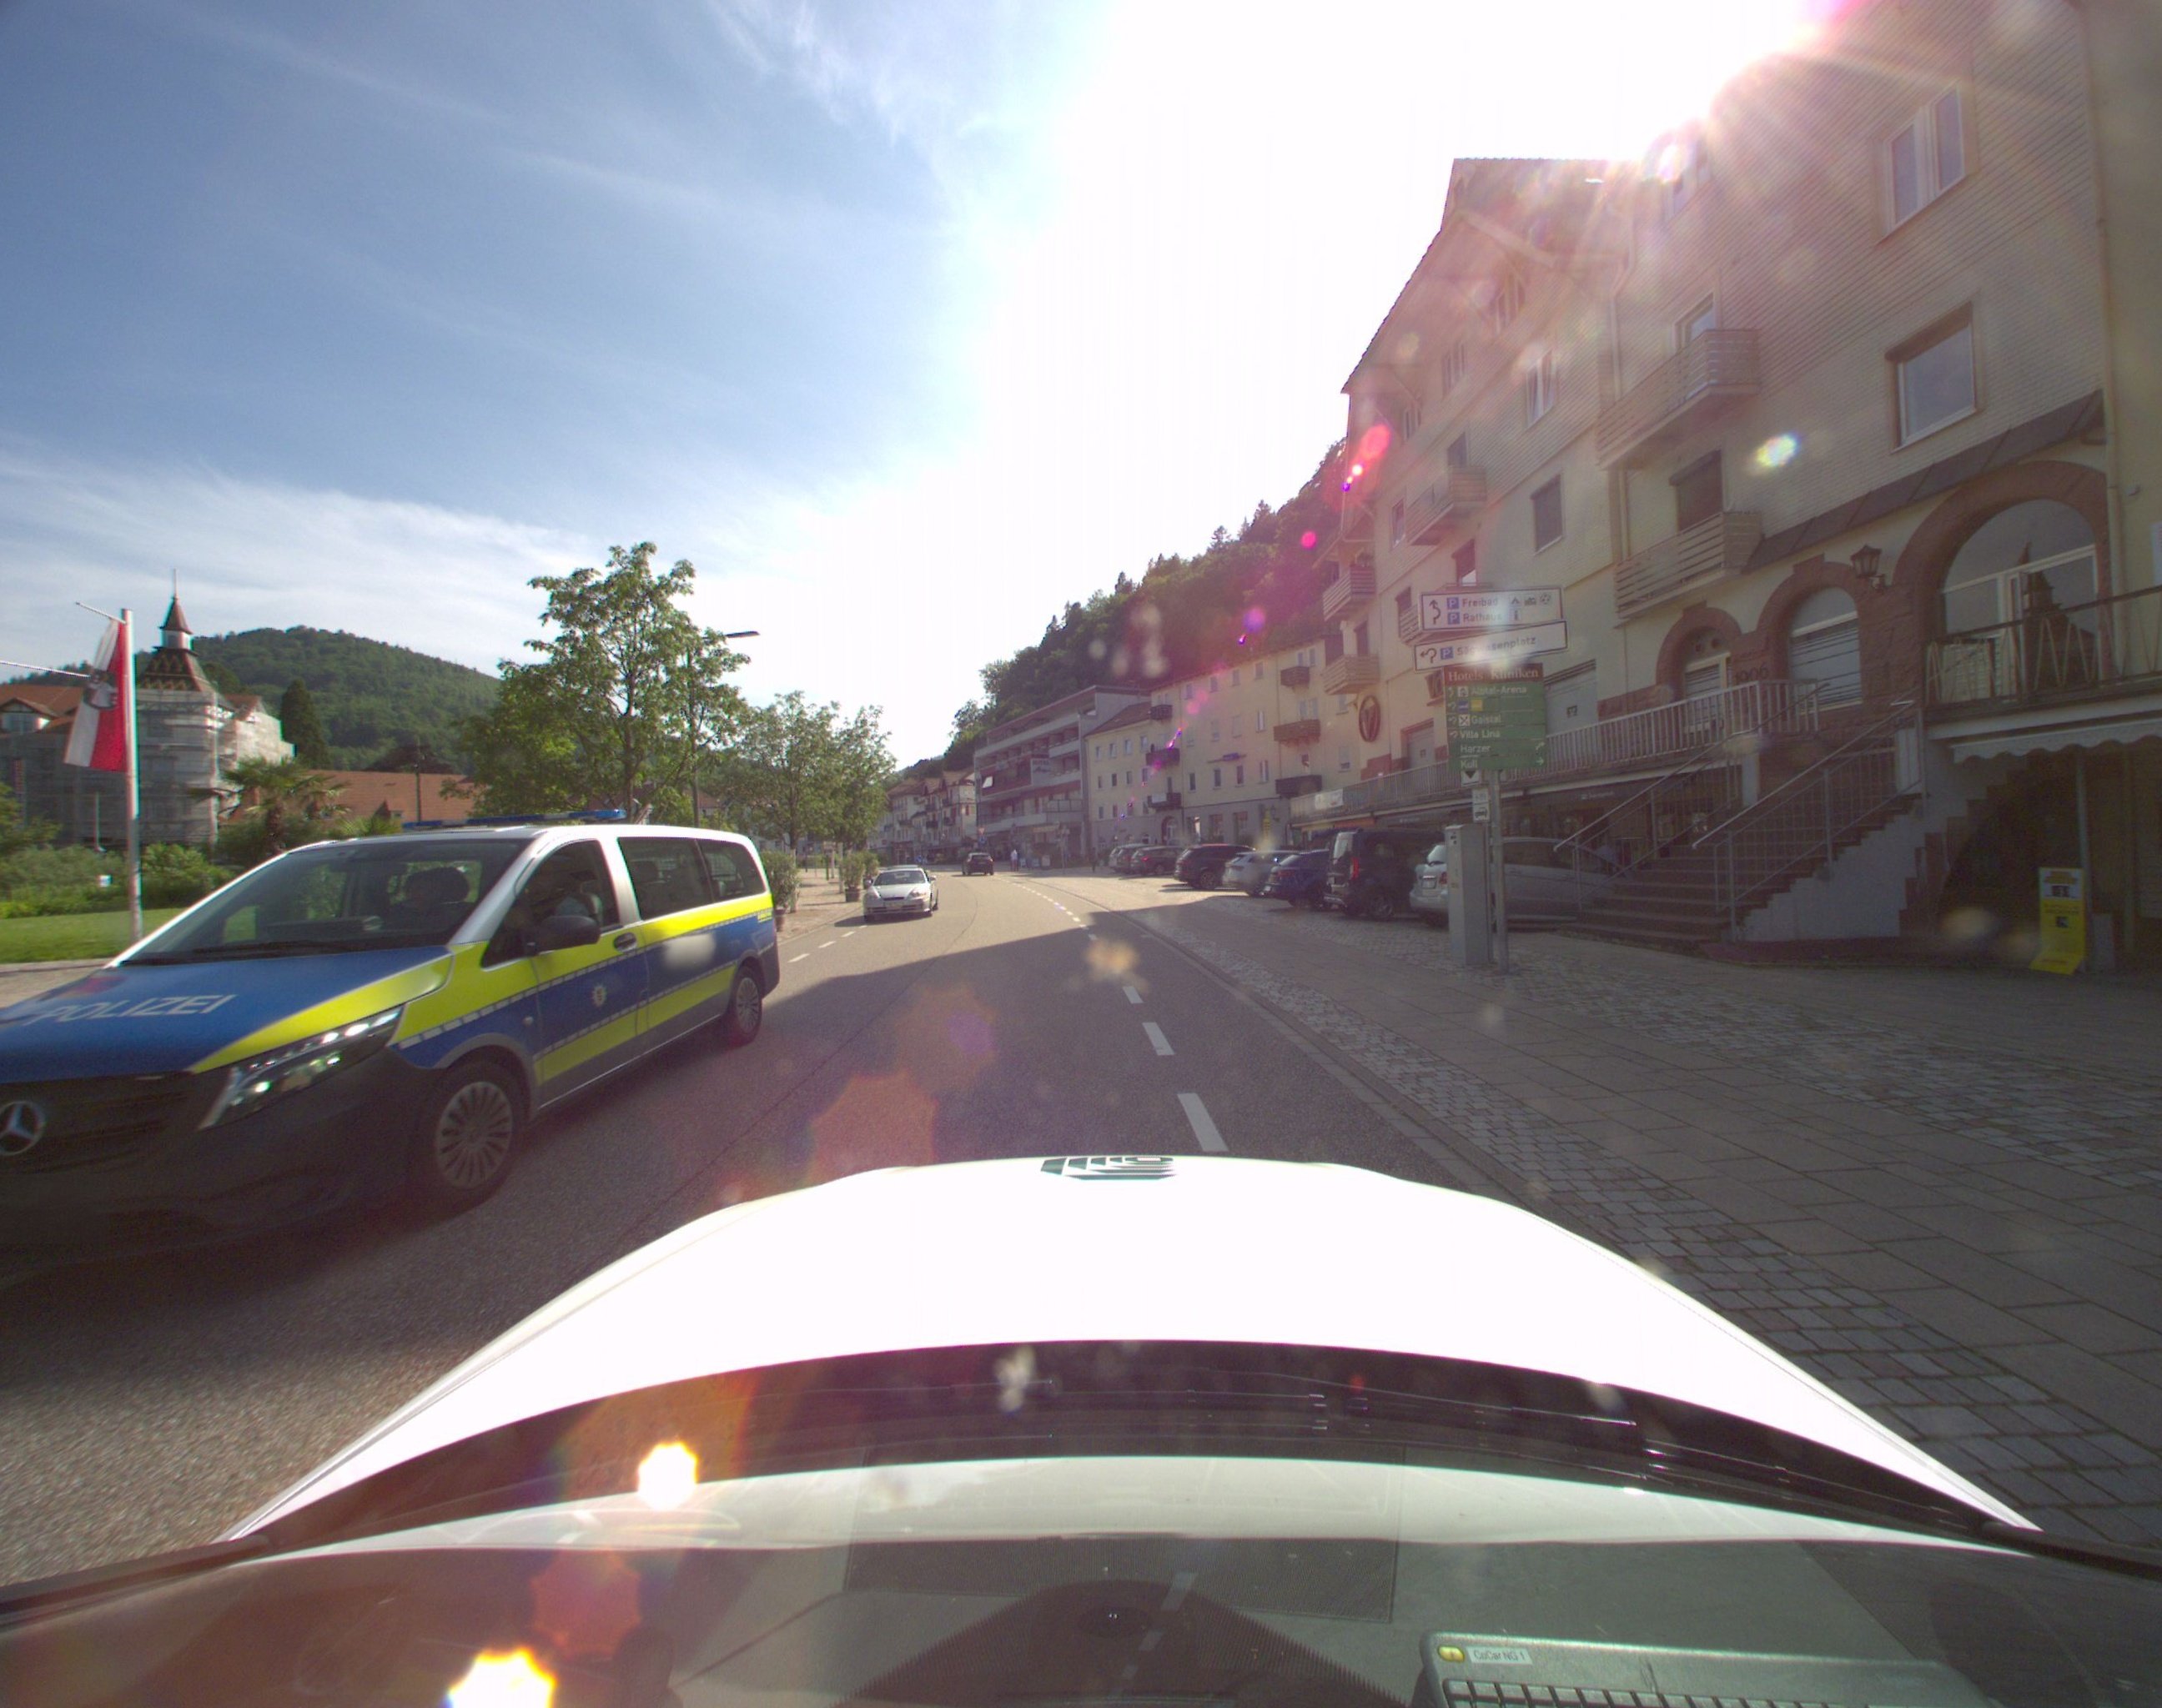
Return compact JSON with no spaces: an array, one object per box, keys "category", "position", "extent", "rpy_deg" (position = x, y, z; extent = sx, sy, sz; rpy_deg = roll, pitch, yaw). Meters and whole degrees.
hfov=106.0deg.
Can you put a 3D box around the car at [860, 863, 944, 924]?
[{"category":"car","position":[-4.841,1.017,22.522],"extent":[1.625,1.370,4.057],"rpy_deg":[-4,0,-4]}]

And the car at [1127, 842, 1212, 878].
[{"category":"car","position":[4.628,0.287,42.824],"extent":[4.026,1.516,1.760],"rpy_deg":[-5,2,-22]}]

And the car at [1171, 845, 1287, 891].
[{"category":"car","position":[5.574,0.517,30.944],"extent":[4.072,1.666,1.772],"rpy_deg":[1,0,-2]}]

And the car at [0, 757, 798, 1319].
[{"category":"car","position":[-3.702,0.688,5.454],"extent":[1.850,1.953,5.014],"rpy_deg":[-4,0,-2]}]

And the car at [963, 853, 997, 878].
[{"category":"car","position":[-7.093,0.779,56.700],"extent":[1.731,1.574,3.732],"rpy_deg":[-2,2,-16]}]

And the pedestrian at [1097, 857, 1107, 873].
[{"category":"pedestrian","position":[1.314,0.679,50.501],"extent":[0.413,1.002,0.534],"rpy_deg":[-4,0,21]}]

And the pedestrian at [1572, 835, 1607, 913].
[{"category":"pedestrian","position":[11.112,0.430,17.804],"extent":[0.409,1.658,0.435],"rpy_deg":[-4,0,6]}]

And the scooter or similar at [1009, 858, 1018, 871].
[{"category":"scooter or similar","position":[-5.237,0.793,63.169],"extent":[0.599,0.950,0.470],"rpy_deg":[-2,0,-24]}]

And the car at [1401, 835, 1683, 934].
[{"category":"car","position":[7.803,0.488,14.044],"extent":[3.898,1.589,1.774],"rpy_deg":[0,0,-2]}]

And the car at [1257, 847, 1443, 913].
[{"category":"car","position":[6.338,0.592,19.468],"extent":[3.898,1.461,1.735],"rpy_deg":[1,0,-2]}]

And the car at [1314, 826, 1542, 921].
[{"category":"car","position":[7.010,0.400,16.729],"extent":[3.898,1.804,1.856],"rpy_deg":[1,-1,-1]}]

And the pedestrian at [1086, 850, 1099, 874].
[{"category":"pedestrian","position":[0.714,0.495,50.549],"extent":[0.732,1.442,0.633],"rpy_deg":[-4,0,2]}]

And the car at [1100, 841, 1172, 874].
[{"category":"car","position":[3.295,0.207,49.033],"extent":[3.877,1.612,1.760],"rpy_deg":[-5,2,-22]}]

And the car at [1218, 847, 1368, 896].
[{"category":"car","position":[6.680,0.552,25.998],"extent":[4.341,1.461,1.772],"rpy_deg":[-1,-1,1]}]

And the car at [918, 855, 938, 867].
[{"category":"car","position":[-21.081,0.958,111.925],"extent":[1.685,1.620,3.966],"rpy_deg":[-2,0,-26]}]

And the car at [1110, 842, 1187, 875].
[{"category":"car","position":[3.836,0.238,46.212],"extent":[3.877,1.549,1.760],"rpy_deg":[-5,2,-22]}]

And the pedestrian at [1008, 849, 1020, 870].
[{"category":"pedestrian","position":[-5.169,0.461,62.999],"extent":[0.761,1.594,0.623],"rpy_deg":[-2,0,-24]}]

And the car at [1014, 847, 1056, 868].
[{"category":"car","position":[-3.894,0.295,69.046],"extent":[3.176,1.663,1.583],"rpy_deg":[-2,0,-22]}]

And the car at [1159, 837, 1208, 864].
[{"category":"car","position":[7.874,-0.305,63.054],"extent":[1.870,2.013,3.641],"rpy_deg":[-2,1,-32]}]

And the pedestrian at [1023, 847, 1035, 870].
[{"category":"pedestrian","position":[-4.027,0.340,62.876],"extent":[0.672,1.728,0.702],"rpy_deg":[-2,0,-24]}]

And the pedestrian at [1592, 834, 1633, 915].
[{"category":"pedestrian","position":[11.186,0.424,17.141],"extent":[0.457,1.658,0.432],"rpy_deg":[-4,0,-19]}]
